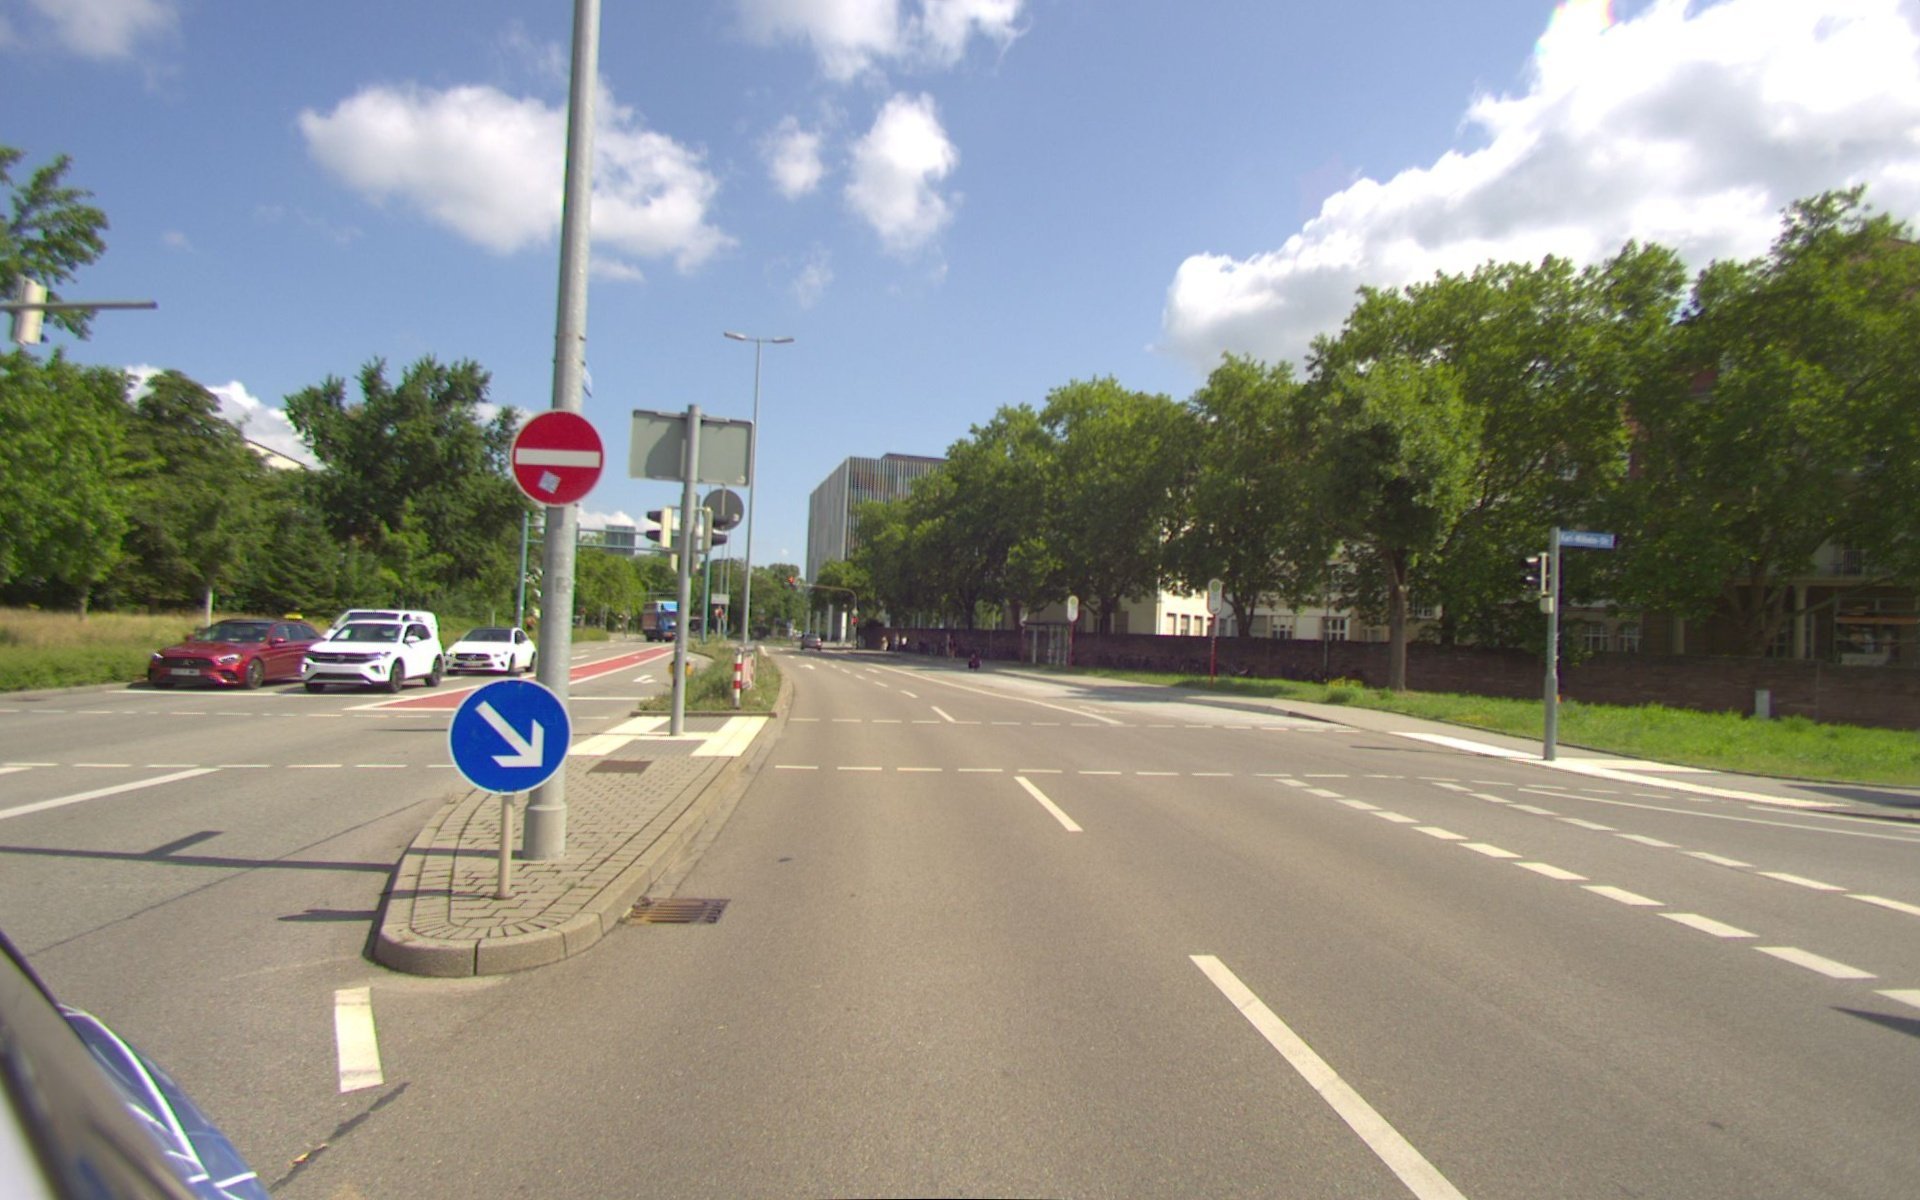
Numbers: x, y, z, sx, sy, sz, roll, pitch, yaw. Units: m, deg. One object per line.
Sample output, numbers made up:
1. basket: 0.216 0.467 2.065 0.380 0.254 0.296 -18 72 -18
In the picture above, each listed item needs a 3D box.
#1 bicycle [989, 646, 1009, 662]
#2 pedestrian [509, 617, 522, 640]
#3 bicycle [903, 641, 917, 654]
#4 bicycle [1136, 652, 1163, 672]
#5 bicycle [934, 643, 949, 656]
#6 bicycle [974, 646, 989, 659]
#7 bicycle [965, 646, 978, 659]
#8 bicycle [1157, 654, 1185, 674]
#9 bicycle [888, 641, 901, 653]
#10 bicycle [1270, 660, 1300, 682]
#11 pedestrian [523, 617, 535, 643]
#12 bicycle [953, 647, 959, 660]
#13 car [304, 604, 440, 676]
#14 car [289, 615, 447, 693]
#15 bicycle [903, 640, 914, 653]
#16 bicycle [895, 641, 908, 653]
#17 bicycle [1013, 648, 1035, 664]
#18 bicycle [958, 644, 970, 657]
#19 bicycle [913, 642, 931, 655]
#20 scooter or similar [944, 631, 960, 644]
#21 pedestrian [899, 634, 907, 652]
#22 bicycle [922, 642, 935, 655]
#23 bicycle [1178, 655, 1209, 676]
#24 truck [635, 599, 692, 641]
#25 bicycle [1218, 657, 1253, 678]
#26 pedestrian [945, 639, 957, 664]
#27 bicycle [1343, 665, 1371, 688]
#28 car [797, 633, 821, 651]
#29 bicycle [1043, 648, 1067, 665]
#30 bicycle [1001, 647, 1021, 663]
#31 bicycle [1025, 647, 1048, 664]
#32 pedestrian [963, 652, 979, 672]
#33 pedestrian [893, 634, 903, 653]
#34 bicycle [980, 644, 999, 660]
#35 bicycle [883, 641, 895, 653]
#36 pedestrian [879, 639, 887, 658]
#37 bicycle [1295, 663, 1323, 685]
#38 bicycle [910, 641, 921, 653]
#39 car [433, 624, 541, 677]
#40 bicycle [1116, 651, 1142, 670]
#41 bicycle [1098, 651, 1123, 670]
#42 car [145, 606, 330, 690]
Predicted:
1. bicycle: 2.815 3.886 73.430 0.574 1.081 1.761 3 -3 -27
2. pedestrian: -31.128 2.018 70.913 0.615 1.593 0.710 3 -3 -12
3. bicycle: -4.410 4.158 89.161 0.583 1.056 1.887 3 -3 -21
4. bicycle: 11.119 3.626 59.352 0.574 1.081 1.636 4 -3 -33
5. bicycle: -1.532 4.064 83.242 0.572 1.056 1.887 3 -3 -21
6. bicycle: 1.639 3.993 76.678 0.365 0.962 1.632 3 -3 -27
7. bicycle: 0.855 4.049 78.340 0.361 0.962 1.406 3 -3 -27
8. bicycle: 12.081 3.662 57.960 0.574 1.081 1.636 4 -3 -33
9. bicycle: -6.241 4.473 95.988 0.621 1.056 1.887 3 -3 -21
10. bicycle: 16.592 3.621 51.697 0.464 1.019 1.460 4 -3 -32
11. pedestrian: -30.306 2.122 71.201 0.559 1.815 0.640 3 -3 -12
12. bicycle: -0.297 4.133 78.839 0.362 0.962 1.626 2 -3 -4
13. car: -17.333 1.185 30.124 1.917 1.884 4.836 3 -3 -11
14. car: -12.968 1.167 22.456 1.767 1.551 4.020 1 -2 -11
15. bicycle: -4.659 4.199 91.473 0.365 1.056 1.887 3 -3 -22
16. bicycle: -5.445 4.401 94.082 0.556 1.056 1.887 3 -3 -21
17. bicycle: 4.443 3.864 70.066 0.574 1.081 1.760 4 -3 -33
18. bicycle: 0.313 3.992 79.893 0.361 0.962 1.406 3 -3 -27
19. bicycle: -3.272 4.151 86.957 0.584 1.056 1.885 4 -3 -37
20. scooter or similar: -0.673 3.027 81.467 0.572 1.056 1.887 3 -3 -21
21. pedestrian: -5.095 3.869 90.493 0.469 1.551 0.618 3 -3 -17
22. bicycle: -2.654 4.060 85.086 0.388 1.056 1.887 3 -3 -22
23. bicycle: 13.061 3.644 56.575 0.574 1.081 1.876 4 -3 -29
24. truck: -28.894 1.959 98.409 2.621 3.828 9.215 4 -3 -33
25. bicycle: 14.767 3.600 54.259 0.464 1.019 1.969 4 -3 -32
26. pedestrian: -0.596 3.490 68.804 0.647 1.622 0.746 2 -2 -11
27. bicycle: 19.076 3.660 48.601 0.347 1.019 1.258 4 -3 -32
28. car: -13.398 3.727 89.735 1.678 1.456 4.156 4 -3 -12
29. bicycle: 6.255 3.711 66.653 0.574 1.081 1.760 4 -3 -33
30. bicycle: 3.619 3.872 71.805 0.574 1.081 1.761 4 -3 -29
31. bicycle: 5.160 3.769 68.339 0.574 1.081 1.760 4 -3 -33
32. pedestrian: 0.586 3.264 53.329 0.685 0.970 0.745 2 -2 -13
33. pedestrian: -5.477 3.865 89.833 0.632 1.663 0.733 3 -3 -17
34. bicycle: 2.178 3.846 75.001 0.574 1.081 1.761 3 -3 -27
35. bicycle: -6.858 4.548 98.013 0.621 1.056 1.887 3 -3 -21
36. pedestrian: -7.171 4.514 94.159 0.552 1.663 0.729 3 -3 -17
37. bicycle: 17.384 3.672 50.453 0.385 1.019 1.374 4 -3 -32
38. bicycle: -3.911 4.142 89.410 0.365 1.056 1.887 3 -3 -22
39. car: -14.309 1.506 30.881 1.879 1.435 4.394 3 -3 -11
40. bicycle: 10.148 3.650 60.764 0.574 1.081 1.636 4 -3 -33
41. bicycle: 9.238 3.720 62.170 0.574 1.081 1.636 4 -3 -33
42. car: -16.019 1.053 22.747 1.659 1.653 4.473 2 -2 -11
